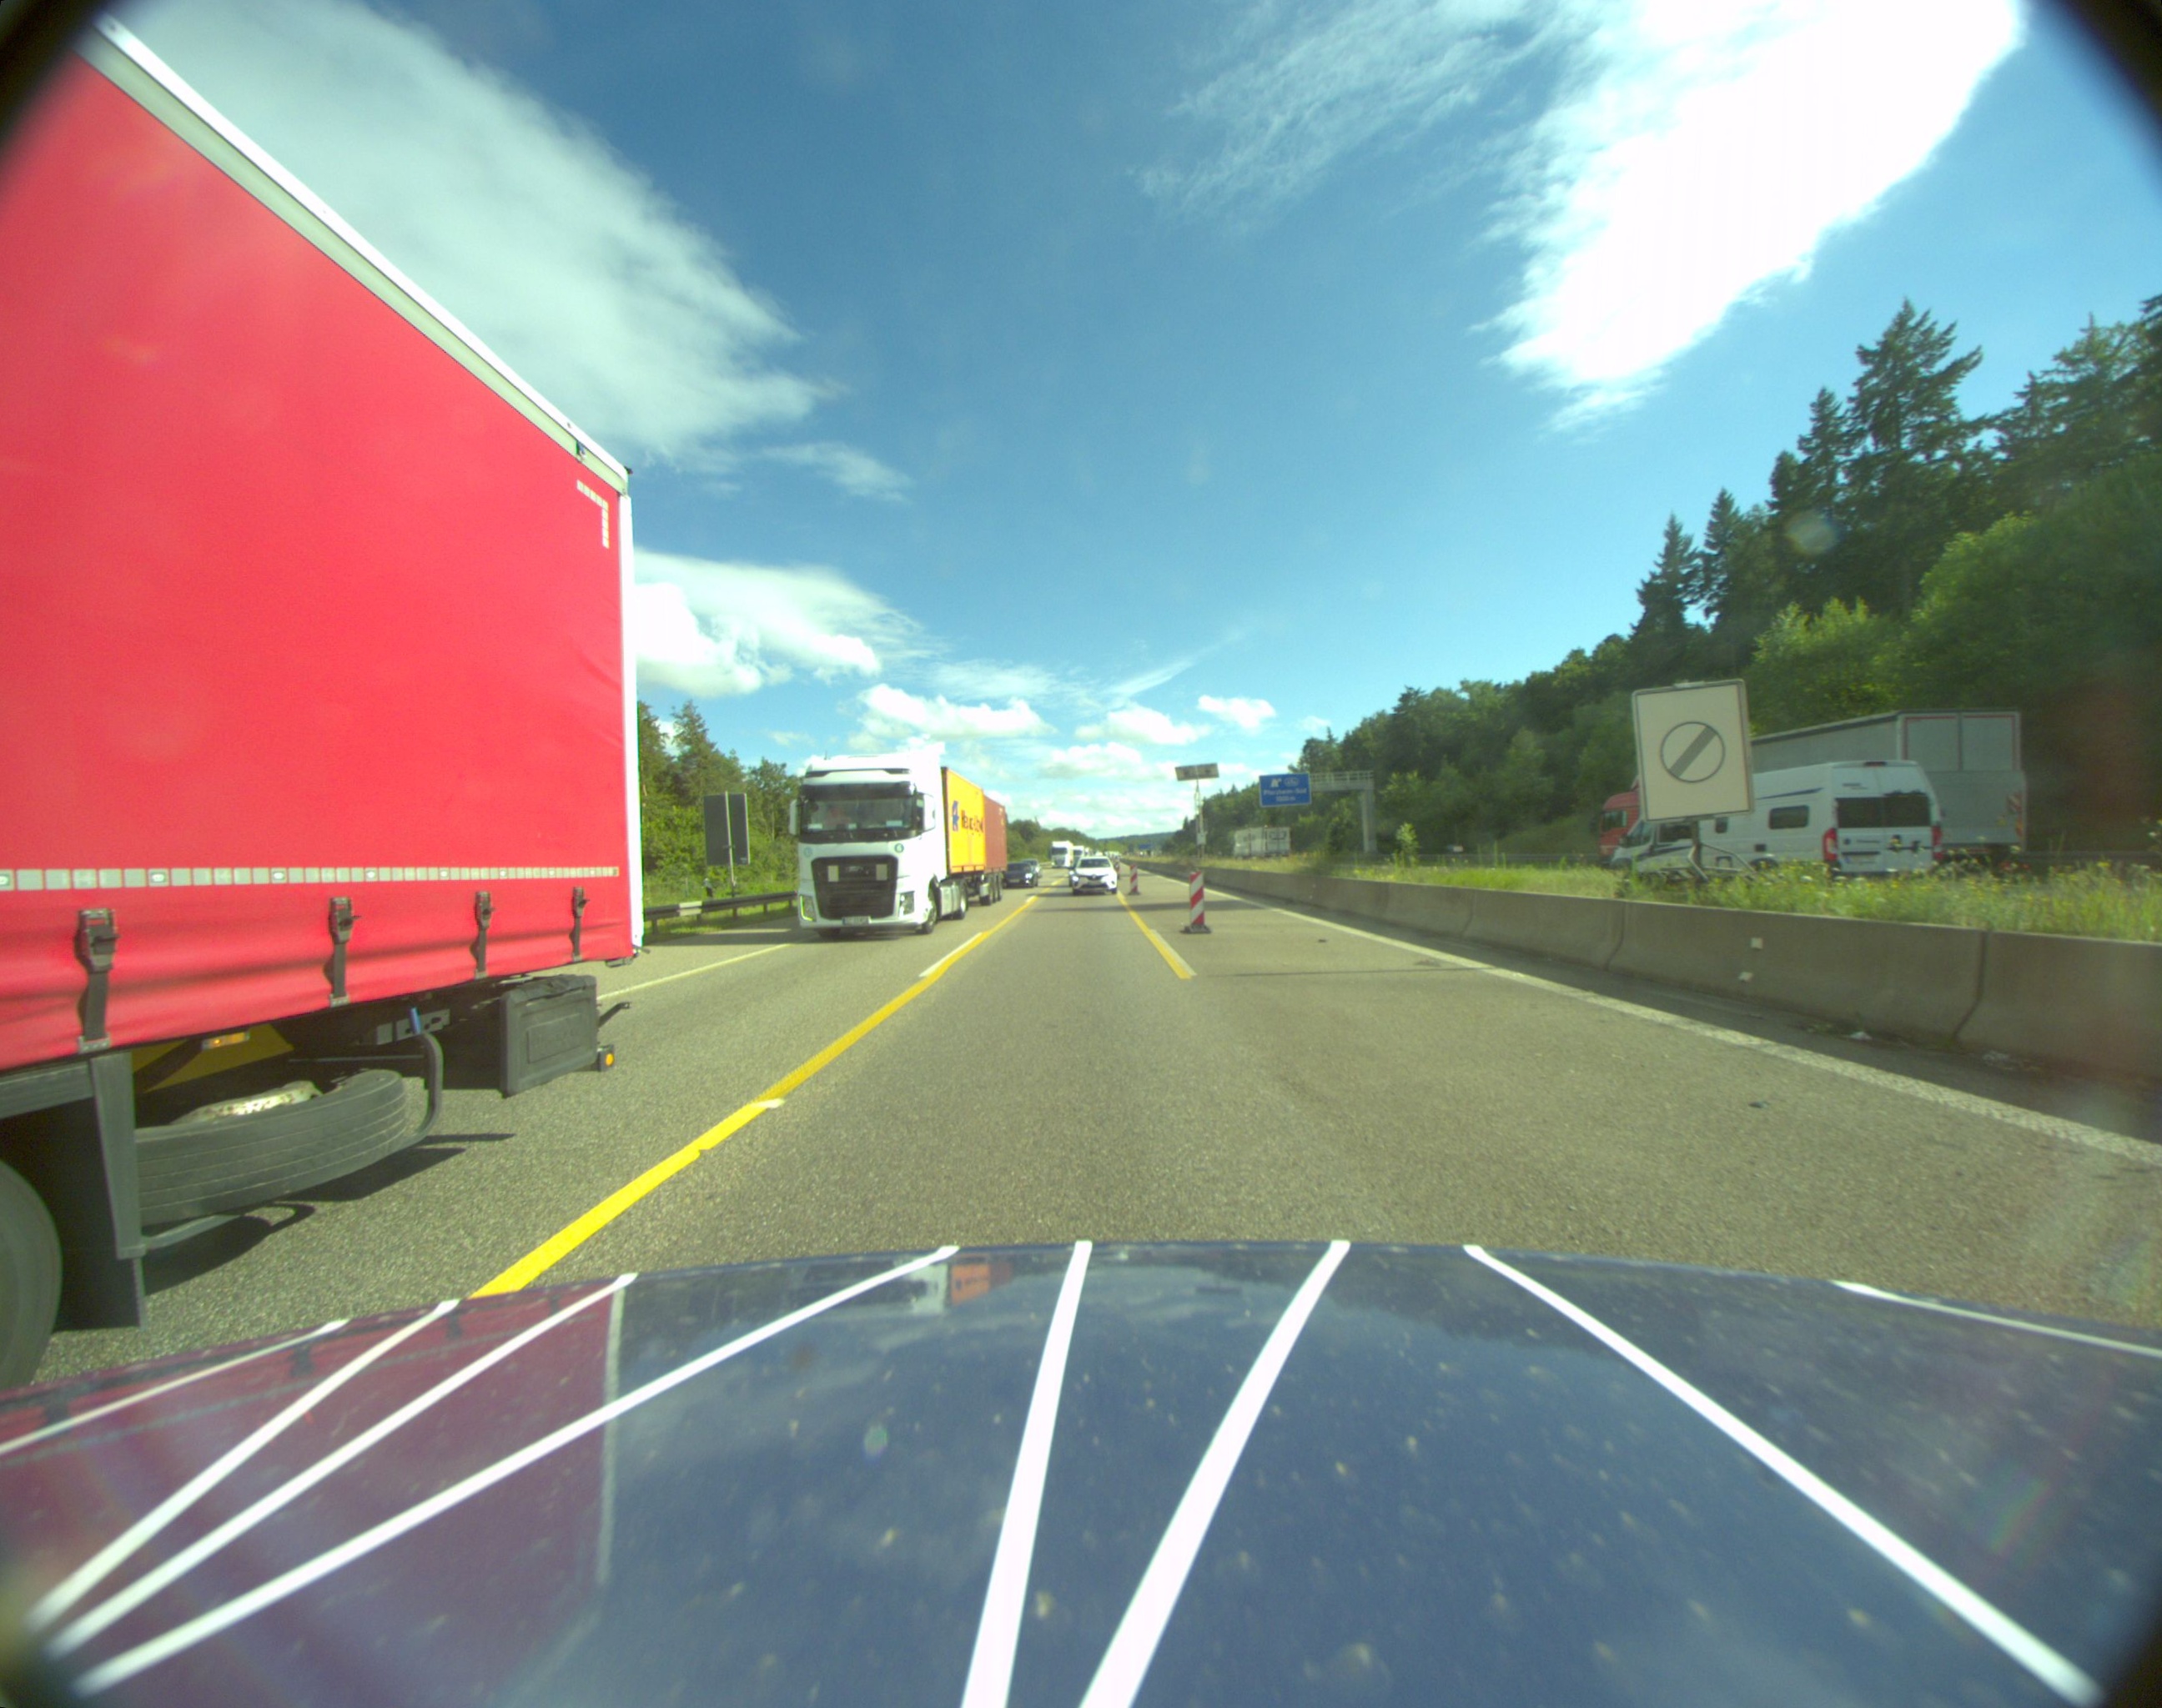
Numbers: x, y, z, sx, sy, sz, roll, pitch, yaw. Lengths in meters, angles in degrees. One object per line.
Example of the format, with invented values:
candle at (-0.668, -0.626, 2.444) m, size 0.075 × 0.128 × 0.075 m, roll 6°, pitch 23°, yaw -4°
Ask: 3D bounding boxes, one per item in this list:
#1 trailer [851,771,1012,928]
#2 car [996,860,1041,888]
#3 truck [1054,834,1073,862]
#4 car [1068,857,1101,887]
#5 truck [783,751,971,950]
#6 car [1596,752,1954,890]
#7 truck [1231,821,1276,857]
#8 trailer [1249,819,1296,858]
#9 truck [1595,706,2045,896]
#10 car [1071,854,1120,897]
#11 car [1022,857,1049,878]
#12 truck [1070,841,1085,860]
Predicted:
trailer at (-4.231, -0.127, 24.781) m, size 2.477 × 3.753 × 12.136 m, roll -2°, pitch 0°, yaw 1°
car at (-3.350, 1.057, 41.329) m, size 1.933 × 1.342 × 4.478 m, roll -2°, pitch 0°, yaw 1°
truck at (-2.675, -0.850, 116.637) m, size 2.641 × 4.092 × 8.194 m, roll -2°, pitch 0°, yaw -1°
car at (0.229, 0.926, 41.737) m, size 1.692 × 1.471 × 3.754 m, roll -2°, pitch 1°, yaw 1°
truck at (-4.380, -0.084, 17.620) m, size 2.501 × 3.759 × 5.790 m, roll -2°, pitch 1°, yaw 2°
car at (14.669, -0.520, 16.886) m, size 2.165 × 2.436 × 6.333 m, roll -2°, pitch -1°, yaw 1°
truck at (20.387, -1.718, 90.502) m, size 2.789 × 3.962 × 10.860 m, roll -2°, pitch 1°, yaw 1°
trailer at (20.261, -1.599, 80.821) m, size 2.797 × 3.900 × 8.487 m, roll -2°, pitch 1°, yaw 1°
truck at (19.288, -1.148, 21.388) m, size 2.807 × 3.969 × 10.185 m, roll -2°, pitch 0°, yaw 1°
car at (0.560, 0.834, 31.464) m, size 1.840 × 1.528 × 3.882 m, roll -2°, pitch 1°, yaw -1°
car at (-3.606, 1.044, 60.625) m, size 1.762 × 1.471 × 3.967 m, roll -2°, pitch 1°, yaw 1°
truck at (-0.715, -0.788, 169.650) m, size 2.640 × 4.092 × 8.197 m, roll -2°, pitch 0°, yaw 3°
